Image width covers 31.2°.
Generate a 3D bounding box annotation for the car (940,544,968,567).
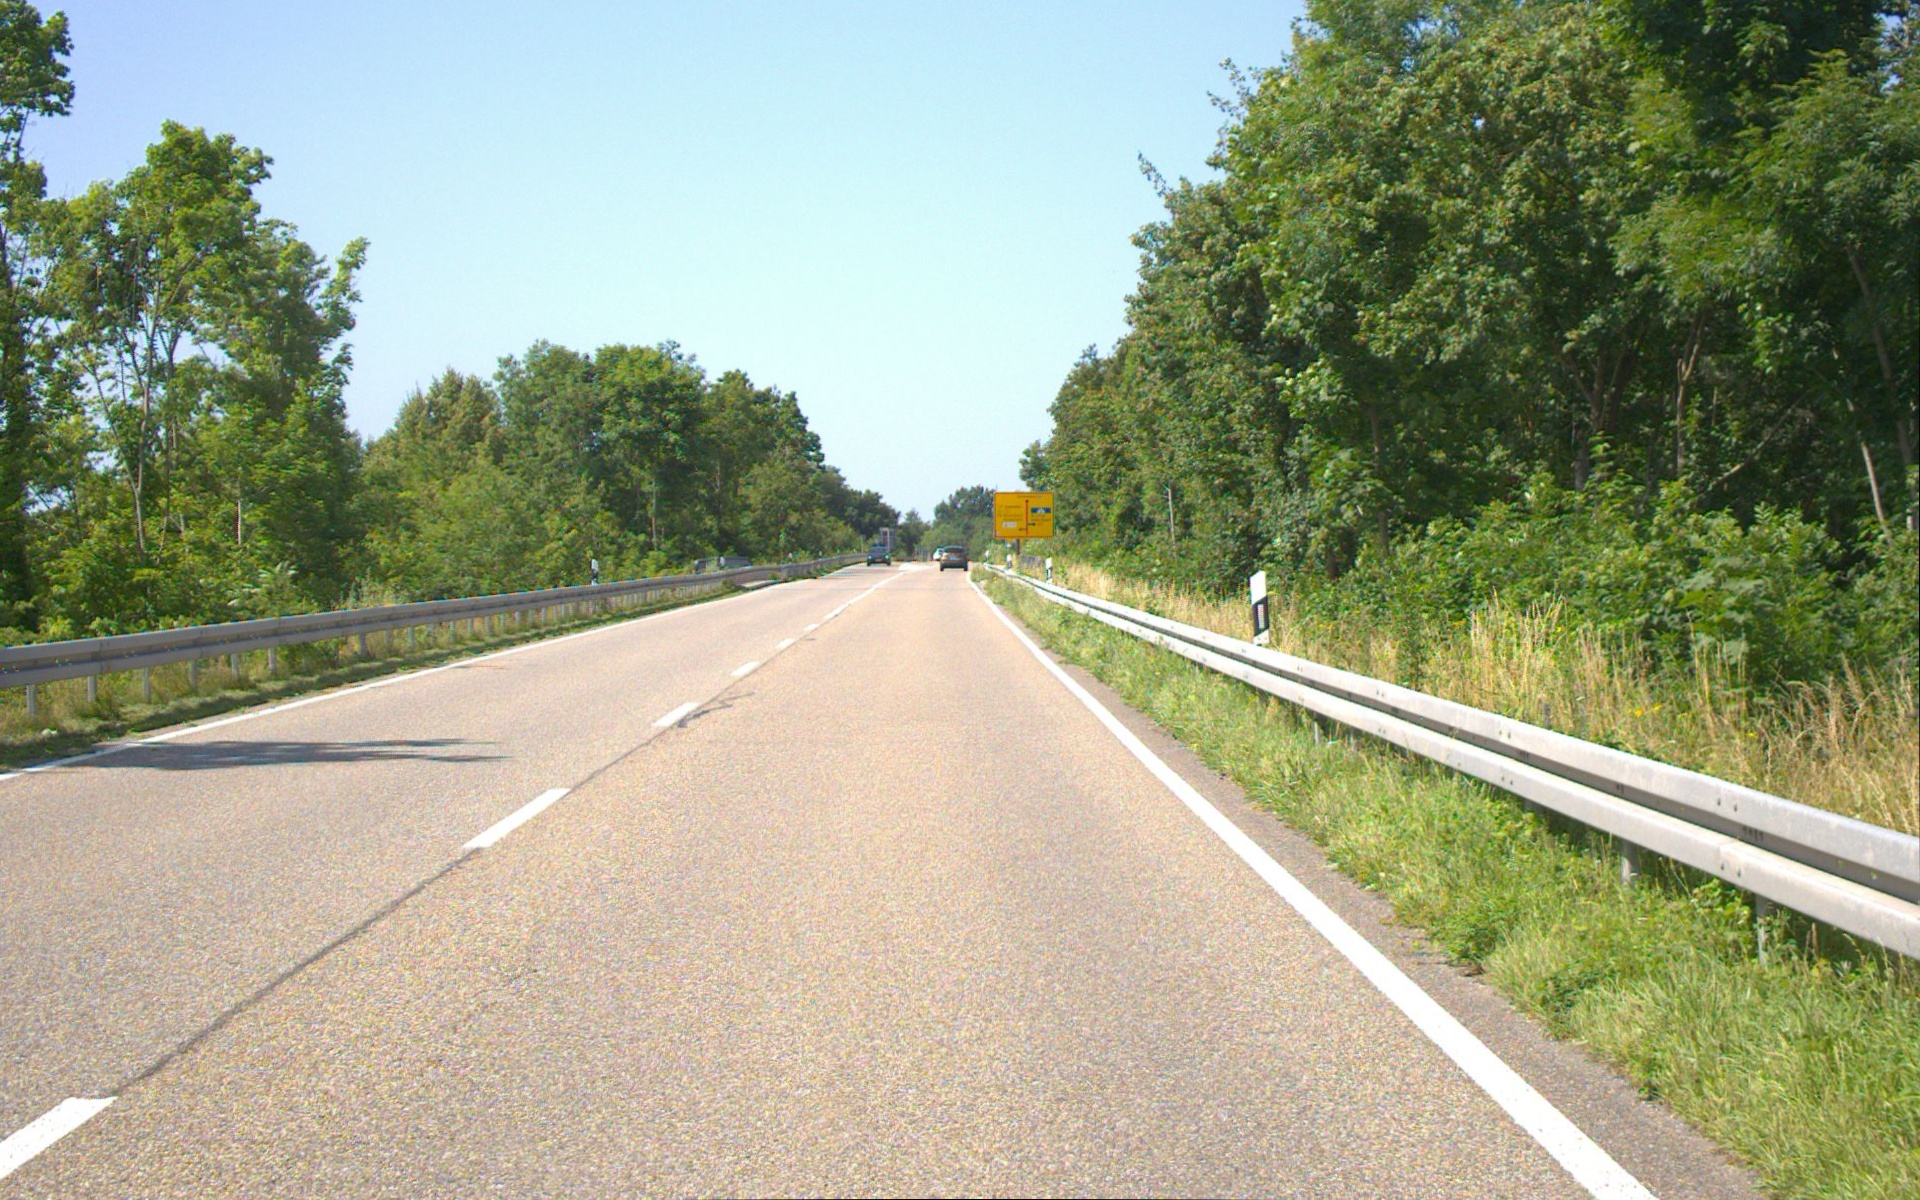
[{"bbox_3d":[-0.365,-2.857,219.441,1.741,1.465,3.692,0,1,1],"label":"car"}]
